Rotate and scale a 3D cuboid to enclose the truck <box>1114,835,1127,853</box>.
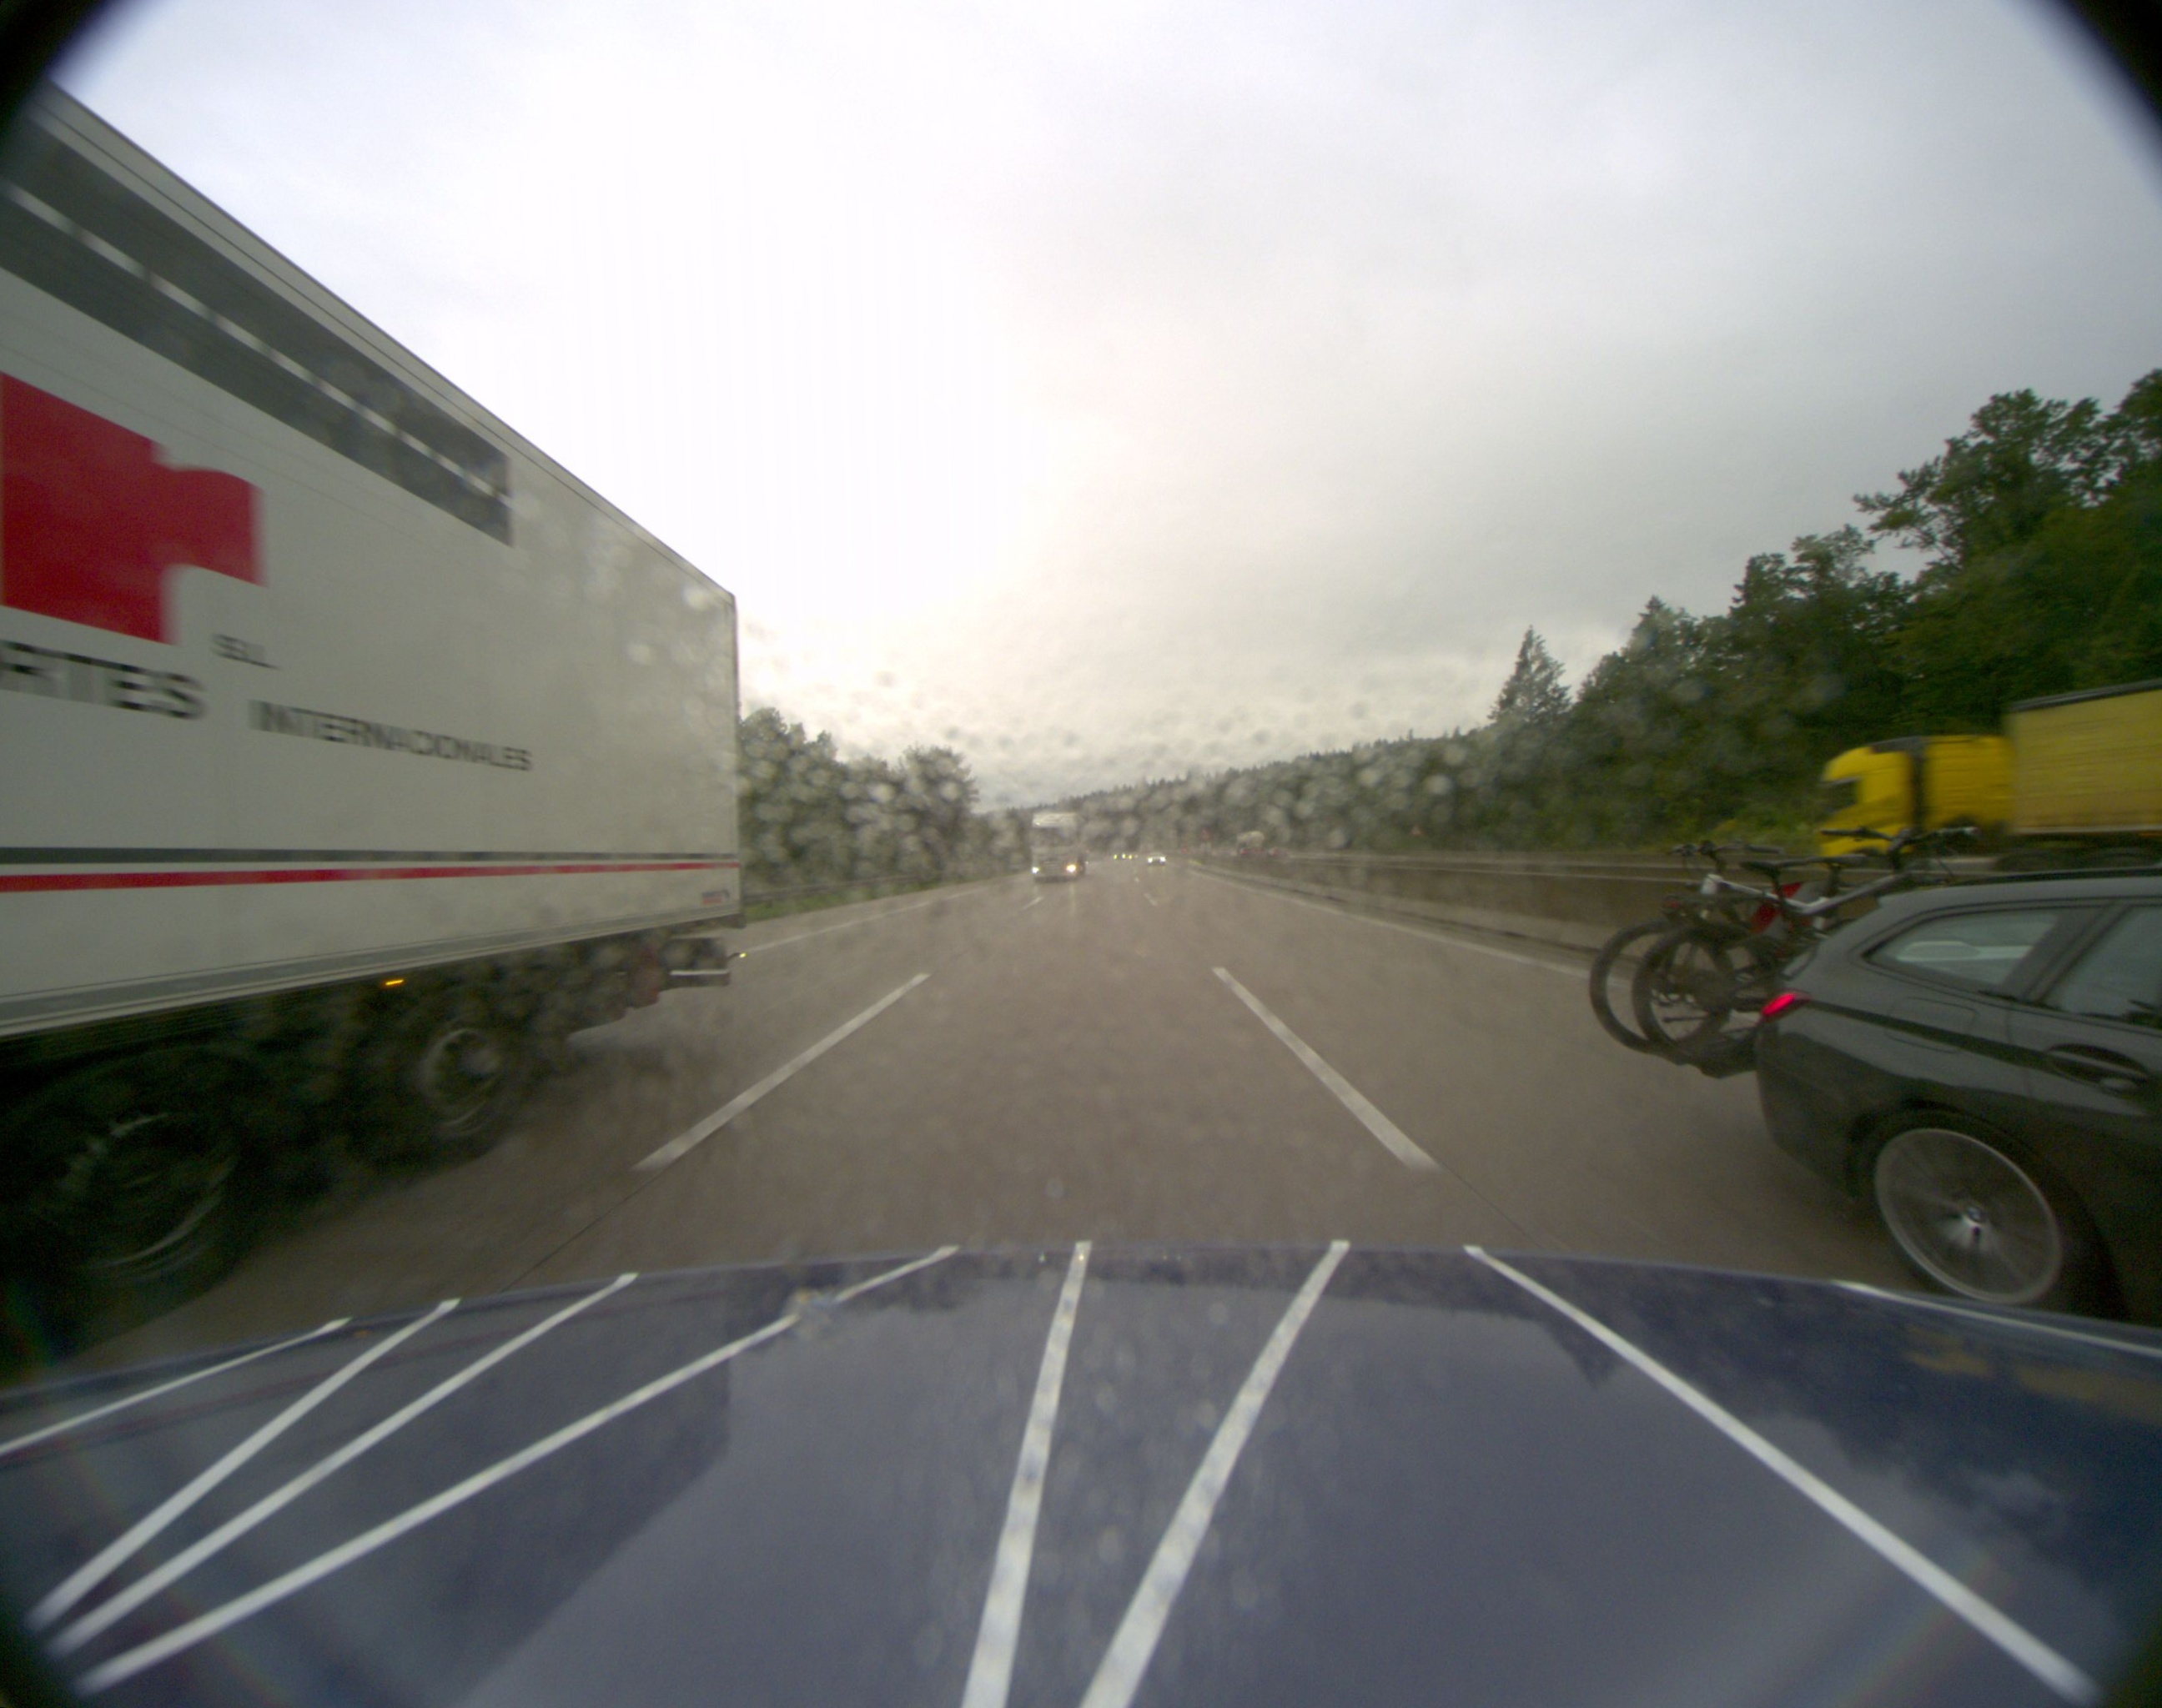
[{"bbox_3d":[9.483,-2.281,183.238,2.737,4.127,8.622,-2,0,1],"label":"truck"}]

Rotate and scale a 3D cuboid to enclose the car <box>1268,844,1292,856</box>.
[{"bbox_3d":[19.881,-0.390,75.980,1.514,1.159,4.404,-2,0,4],"label":"car"}]

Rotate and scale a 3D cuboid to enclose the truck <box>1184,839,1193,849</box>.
[{"bbox_3d":[35.885,-3.320,254.735,2.437,3.156,10.665,-3,0,6],"label":"truck"}]

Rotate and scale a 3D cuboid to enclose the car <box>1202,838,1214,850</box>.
[{"bbox_3d":[27.296,-2.085,163.796,1.998,2.435,6.747,-2,0,5],"label":"car"}]

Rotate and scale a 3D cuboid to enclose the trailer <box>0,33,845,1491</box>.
[{"bbox_3d":[-4.388,-0.259,2.709,2.741,4.080,13.680,-2,0,0],"label":"trailer"}]

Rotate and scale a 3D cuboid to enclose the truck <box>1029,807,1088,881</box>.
[{"bbox_3d":[-1.244,-0.594,45.150,2.727,4.018,5.754,-2,1,5],"label":"truck"}]

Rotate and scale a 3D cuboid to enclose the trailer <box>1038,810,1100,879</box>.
[{"bbox_3d":[-0.535,-0.654,52.404,2.685,4.017,13.708,-2,0,5],"label":"trailer"}]

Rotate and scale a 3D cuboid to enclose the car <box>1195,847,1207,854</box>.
[{"bbox_3d":[22.938,-0.671,145.501,1.662,1.364,4.759,-2,0,4],"label":"car"}]

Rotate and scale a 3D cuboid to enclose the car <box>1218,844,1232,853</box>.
[{"bbox_3d":[23.657,-0.965,124.953,1.662,1.364,4.722,-2,0,4],"label":"car"}]

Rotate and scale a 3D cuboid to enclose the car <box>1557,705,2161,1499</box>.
[{"bbox_3d":[3.551,0.584,1.106,1.912,1.933,6.162,-2,0,1],"label":"car"}]

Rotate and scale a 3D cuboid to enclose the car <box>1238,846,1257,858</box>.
[{"bbox_3d":[21.019,-0.263,95.980,1.806,1.326,4.566,-2,0,5],"label":"car"}]

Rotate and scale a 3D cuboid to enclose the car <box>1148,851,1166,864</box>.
[{"bbox_3d":[8.515,0.351,85.599,1.716,1.399,4.936,-2,0,2],"label":"car"}]

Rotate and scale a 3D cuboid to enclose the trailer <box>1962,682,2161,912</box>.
[{"bbox_3d":[19.480,-0.966,8.812,3.021,3.852,13.701,-2,0,2],"label":"trailer"}]

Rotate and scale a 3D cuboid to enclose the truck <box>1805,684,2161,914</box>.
[{"bbox_3d":[19.770,-0.983,15.199,3.033,3.852,8.117,-2,0,3],"label":"truck"}]

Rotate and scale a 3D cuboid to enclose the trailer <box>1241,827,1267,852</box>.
[{"bbox_3d":[27.150,-2.209,119.510,2.551,3.646,8.232,-2,0,4],"label":"trailer"}]

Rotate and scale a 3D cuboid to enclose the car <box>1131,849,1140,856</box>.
[{"bbox_3d":[10.902,-0.312,152.820,1.716,1.399,4.936,-2,0,2],"label":"car"}]

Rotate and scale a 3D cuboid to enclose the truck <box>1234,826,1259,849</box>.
[{"bbox_3d":[27.732,-2.710,127.679,2.569,3.646,10.494,-2,0,4],"label":"truck"}]
